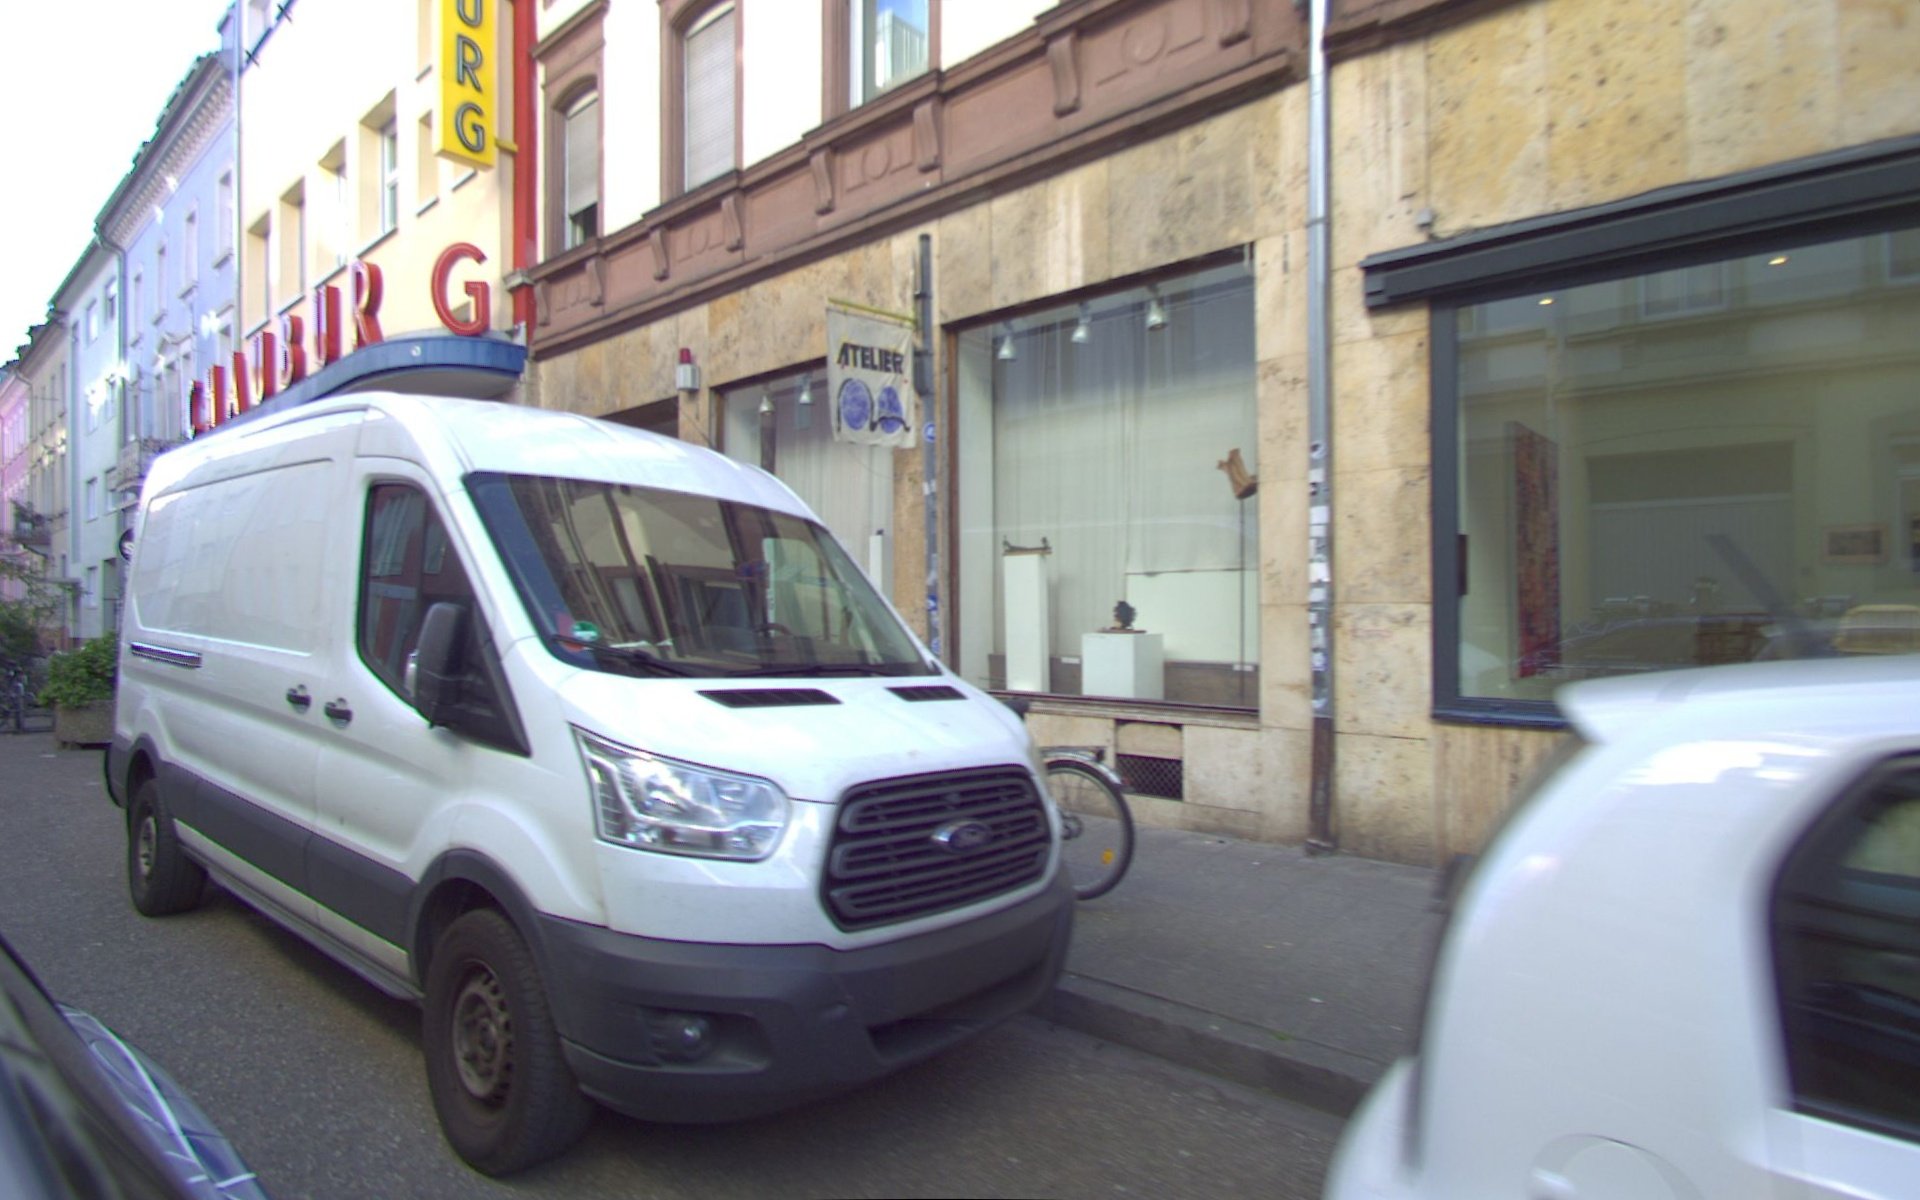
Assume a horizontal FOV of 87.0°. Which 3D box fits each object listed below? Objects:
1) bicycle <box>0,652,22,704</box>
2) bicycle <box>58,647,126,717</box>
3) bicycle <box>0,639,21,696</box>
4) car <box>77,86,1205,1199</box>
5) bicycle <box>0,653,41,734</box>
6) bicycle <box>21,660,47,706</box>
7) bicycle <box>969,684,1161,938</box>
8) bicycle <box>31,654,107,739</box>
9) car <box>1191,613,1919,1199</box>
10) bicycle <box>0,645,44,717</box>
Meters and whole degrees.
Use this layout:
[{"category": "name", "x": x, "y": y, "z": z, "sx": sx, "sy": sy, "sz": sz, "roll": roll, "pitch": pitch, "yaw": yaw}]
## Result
[{"category": "bicycle", "x": -18.542, "y": 1.491, "z": 19.506, "sx": 1.571, "sy": 0.951, "sz": 0.548, "roll": -2, "pitch": -2, "yaw": 42}, {"category": "bicycle", "x": -14.129, "y": 1.312, "z": 16.469, "sx": 1.407, "sy": 1.053, "sz": 0.568, "roll": -1, "pitch": -1, "yaw": 38}, {"category": "bicycle", "x": -20.544, "y": 1.436, "z": 21.458, "sx": 0.919, "sy": 1.184, "sz": 0.805, "roll": -1, "pitch": -1, "yaw": 39}, {"category": "car", "x": -2.064, "y": 0.315, "z": 4.691, "sx": 5.917, "sy": 2.471, "sz": 2.146, "roll": -1, "pitch": -3, "yaw": 40}, {"category": "bicycle", "x": -13.417, "y": 1.268, "z": 13.968, "sx": 1.740, "sy": 1.055, "sz": 0.458, "roll": -1, "pitch": 0, "yaw": 26}, {"category": "bicycle", "x": -17.830, "y": 1.586, "z": 19.477, "sx": 1.299, "sy": 0.824, "sz": 0.253, "roll": -2, "pitch": -1, "yaw": 43}, {"category": "bicycle", "x": 0.467, "y": 0.923, "z": 4.622, "sx": 0.844, "sy": 1.044, "sz": 0.220, "roll": -1, "pitch": -1, "yaw": 31}, {"category": "bicycle", "x": -12.156, "y": 1.283, "z": 13.790, "sx": 1.862, "sy": 1.055, "sz": 0.438, "roll": -1, "pitch": 0, "yaw": 38}, {"category": "car", "x": 2.278, "y": 0.733, "z": 0.669, "sx": 3.837, "sy": 1.458, "sz": 1.628, "roll": -1, "pitch": -2, "yaw": 40}, {"category": "bicycle", "x": -15.707, "y": 1.309, "z": 16.709, "sx": 1.879, "sy": 1.102, "sz": 0.541, "roll": -1, "pitch": 0, "yaw": 38}]
